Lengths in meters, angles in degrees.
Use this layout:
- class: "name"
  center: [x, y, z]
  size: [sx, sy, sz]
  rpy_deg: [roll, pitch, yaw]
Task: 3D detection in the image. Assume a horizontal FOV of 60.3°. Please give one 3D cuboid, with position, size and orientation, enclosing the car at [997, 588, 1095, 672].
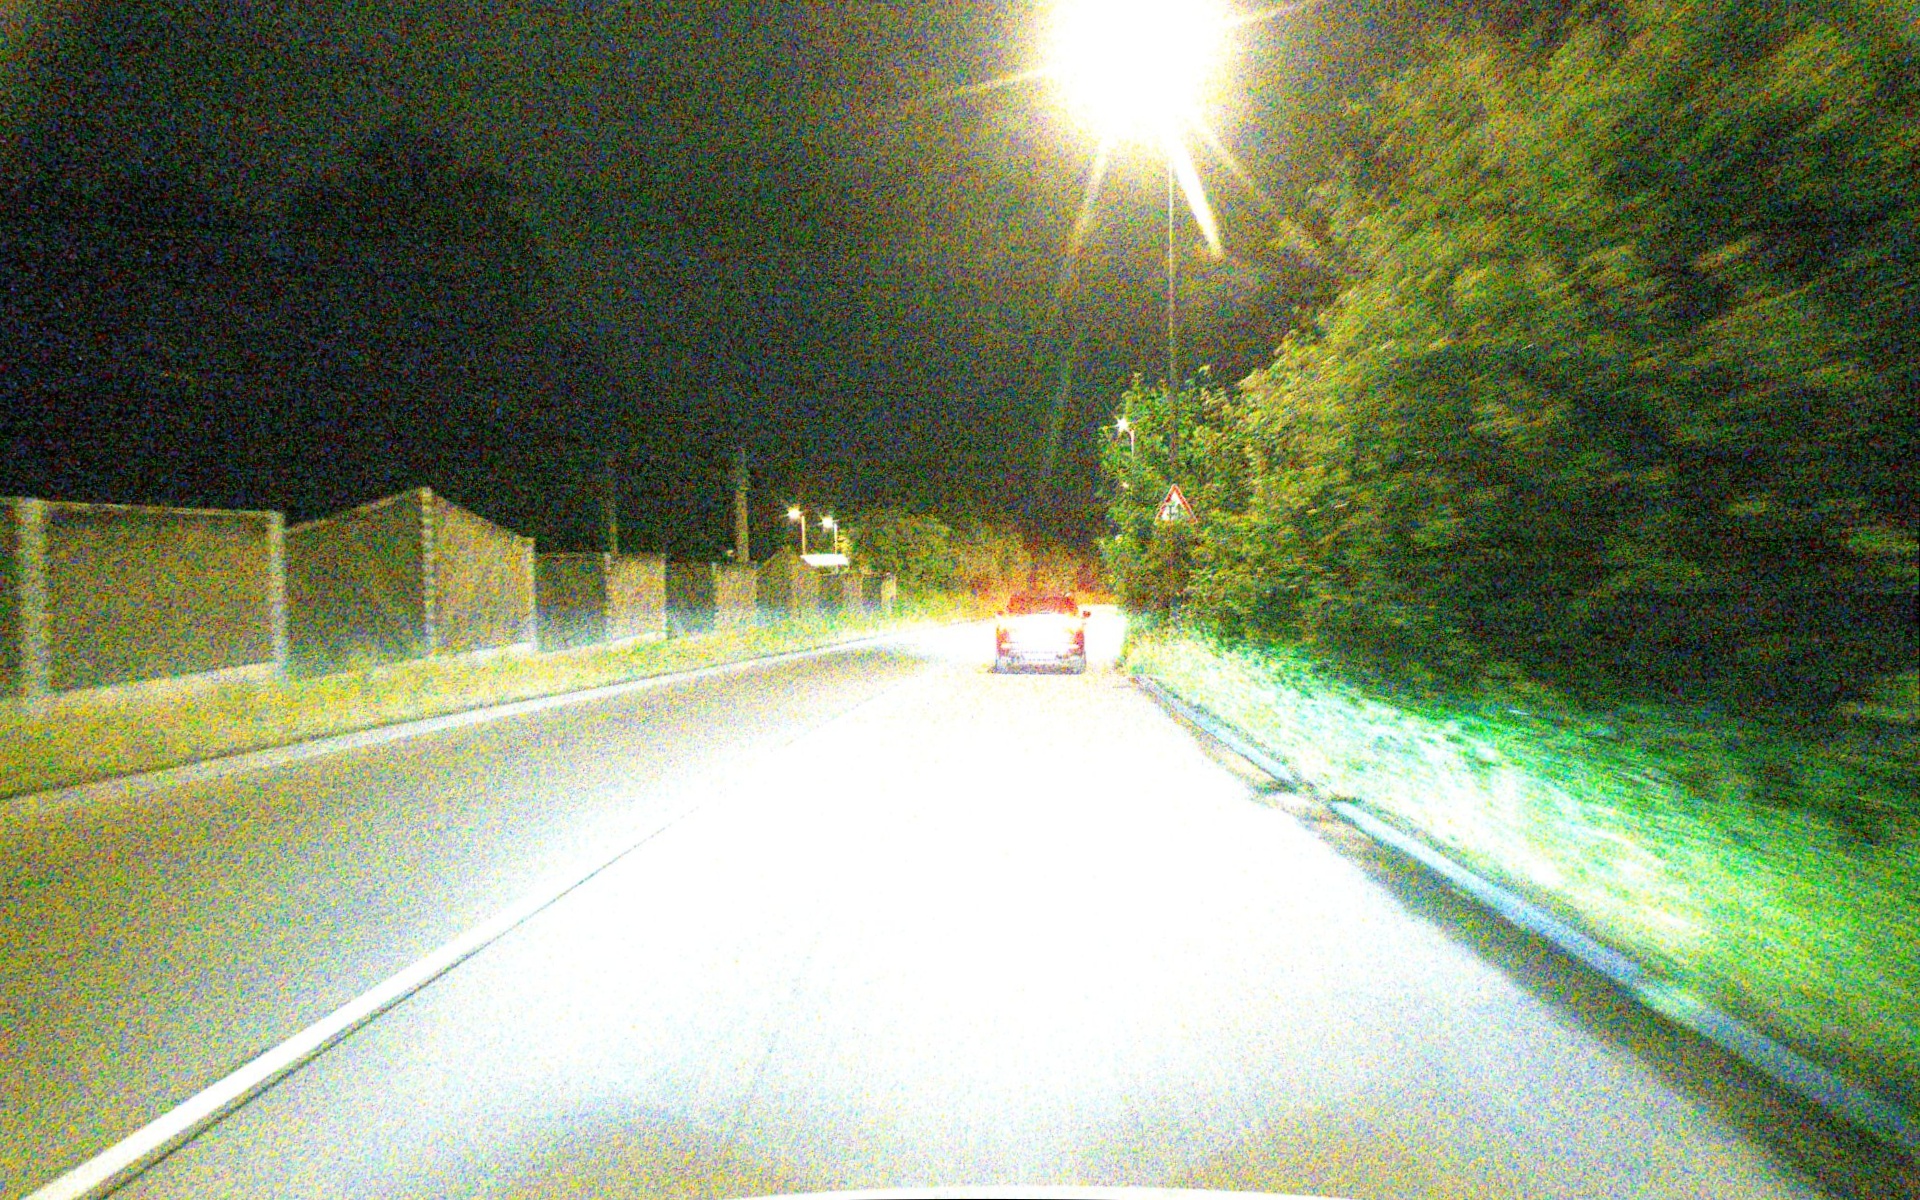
- class: "car"
  center: [1.810, 0.575, 33.752]
  size: [1.776, 1.601, 3.946]
  rpy_deg: [0, 0, 6]
